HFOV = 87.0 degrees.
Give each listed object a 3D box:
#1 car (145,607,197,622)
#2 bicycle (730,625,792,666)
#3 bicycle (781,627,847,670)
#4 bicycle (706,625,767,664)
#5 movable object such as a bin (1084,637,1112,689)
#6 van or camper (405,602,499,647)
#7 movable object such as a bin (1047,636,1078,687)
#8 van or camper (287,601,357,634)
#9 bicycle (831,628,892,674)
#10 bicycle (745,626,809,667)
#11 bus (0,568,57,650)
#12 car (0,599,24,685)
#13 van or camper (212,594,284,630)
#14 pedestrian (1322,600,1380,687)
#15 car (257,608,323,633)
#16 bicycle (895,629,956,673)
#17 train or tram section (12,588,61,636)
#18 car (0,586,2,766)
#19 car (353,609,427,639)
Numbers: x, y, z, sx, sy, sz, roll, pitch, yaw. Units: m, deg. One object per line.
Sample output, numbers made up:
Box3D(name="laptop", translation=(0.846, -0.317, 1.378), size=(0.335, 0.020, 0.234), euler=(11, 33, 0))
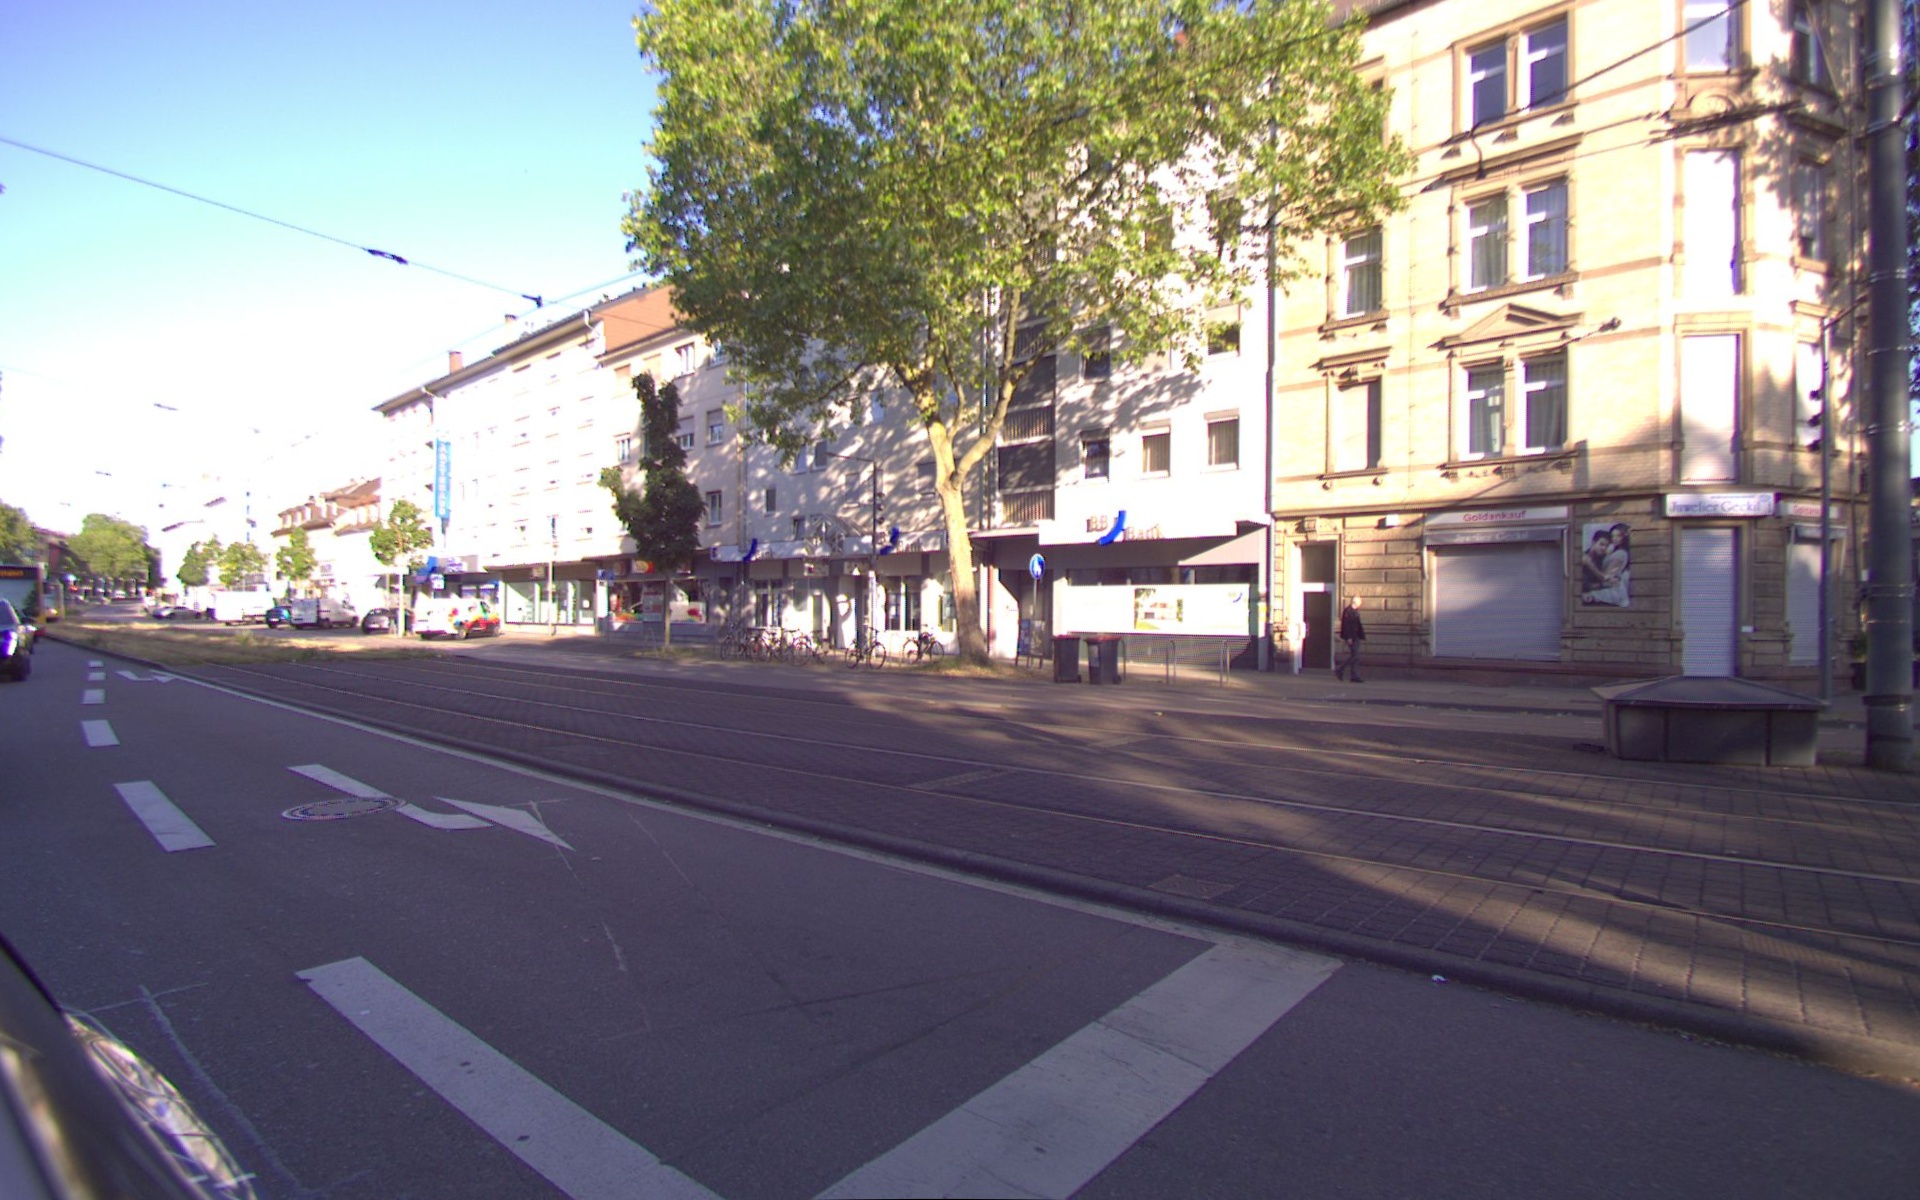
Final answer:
Box3D(name="car", translation=(-81.403, 1.479, 104.521), size=(1.757, 1.501, 3.888), euler=(-1, 1, 21))
Box3D(name="bicycle", translation=(-5.937, 1.346, 30.244), size=(0.534, 1.133, 1.874), euler=(-1, 0, 42))
Box3D(name="bicycle", translation=(-4.101, 1.340, 28.520), size=(0.652, 1.133, 1.874), euler=(-1, 0, 42))
Box3D(name="bicycle", translation=(-6.855, 1.348, 31.099), size=(0.534, 1.133, 1.874), euler=(-1, 0, 42))
Box3D(name="movable object such as a bin", translation=(2.971, 1.345, 21.785), size=(0.470, 1.102, 0.574), euler=(0, -2, -6))
Box3D(name="van or camper", translation=(-23.992, 1.117, 47.988), size=(1.925, 1.912, 4.813), euler=(-1, 1, 1))
Box3D(name="movable object such as a bin", translation=(2.255, 1.339, 22.305), size=(0.537, 1.102, 0.648), euler=(0, -2, -6))
Box3D(name="van or camper", translation=(-41.418, 1.118, 65.858), size=(1.775, 2.004, 4.452), euler=(-1, 1, -1))
Box3D(name="bicycle", translation=(-2.591, 1.324, 26.551), size=(0.502, 1.133, 1.912), euler=(0, 0, -44))
Box3D(name="bicycle", translation=(-5.355, 1.347, 29.692), size=(0.652, 1.133, 1.874), euler=(-1, 0, 42))
Box3D(name="bus", translation=(-39.381, 0.250, 41.684), size=(2.831, 3.001, 12.251), euler=(-2, 2, -44))
Box3D(name="car", translation=(-19.514, 0.792, 19.882), size=(1.634, 1.593, 4.004), euler=(1, -1, -43))
Box3D(name="van or camper", translation=(-56.422, 0.918, 80.351), size=(1.968, 2.687, 6.410), euler=(-1, 1, -8))
Box3D(name="pedestrian", translation=(8.365, 0.910, 21.668), size=(0.611, 1.801, 0.972), euler=(-1, 1, -41))
Box3D(name="car", translation=(-46.579, 1.399, 70.449), size=(1.853, 1.598, 3.999), euler=(-1, 1, 1))
Box3D(name="bicycle", translation=(-0.967, 1.381, 27.920), size=(0.502, 1.133, 1.912), euler=(0, 0, -44))
Box3D(name="train or tram section", translation=(-70.867, 0.901, 77.736), size=(2.600, 3.476, 11.143), euler=(0, 0, -42))
Box3D(name="car", translation=(-8.557, 0.700, 7.697), size=(1.782, 1.660, 4.004), euler=(0, -1, -43))
Box3D(name="car", translation=(-31.657, 1.313, 56.351), size=(1.744, 1.501, 4.454), euler=(-1, 1, -3))
